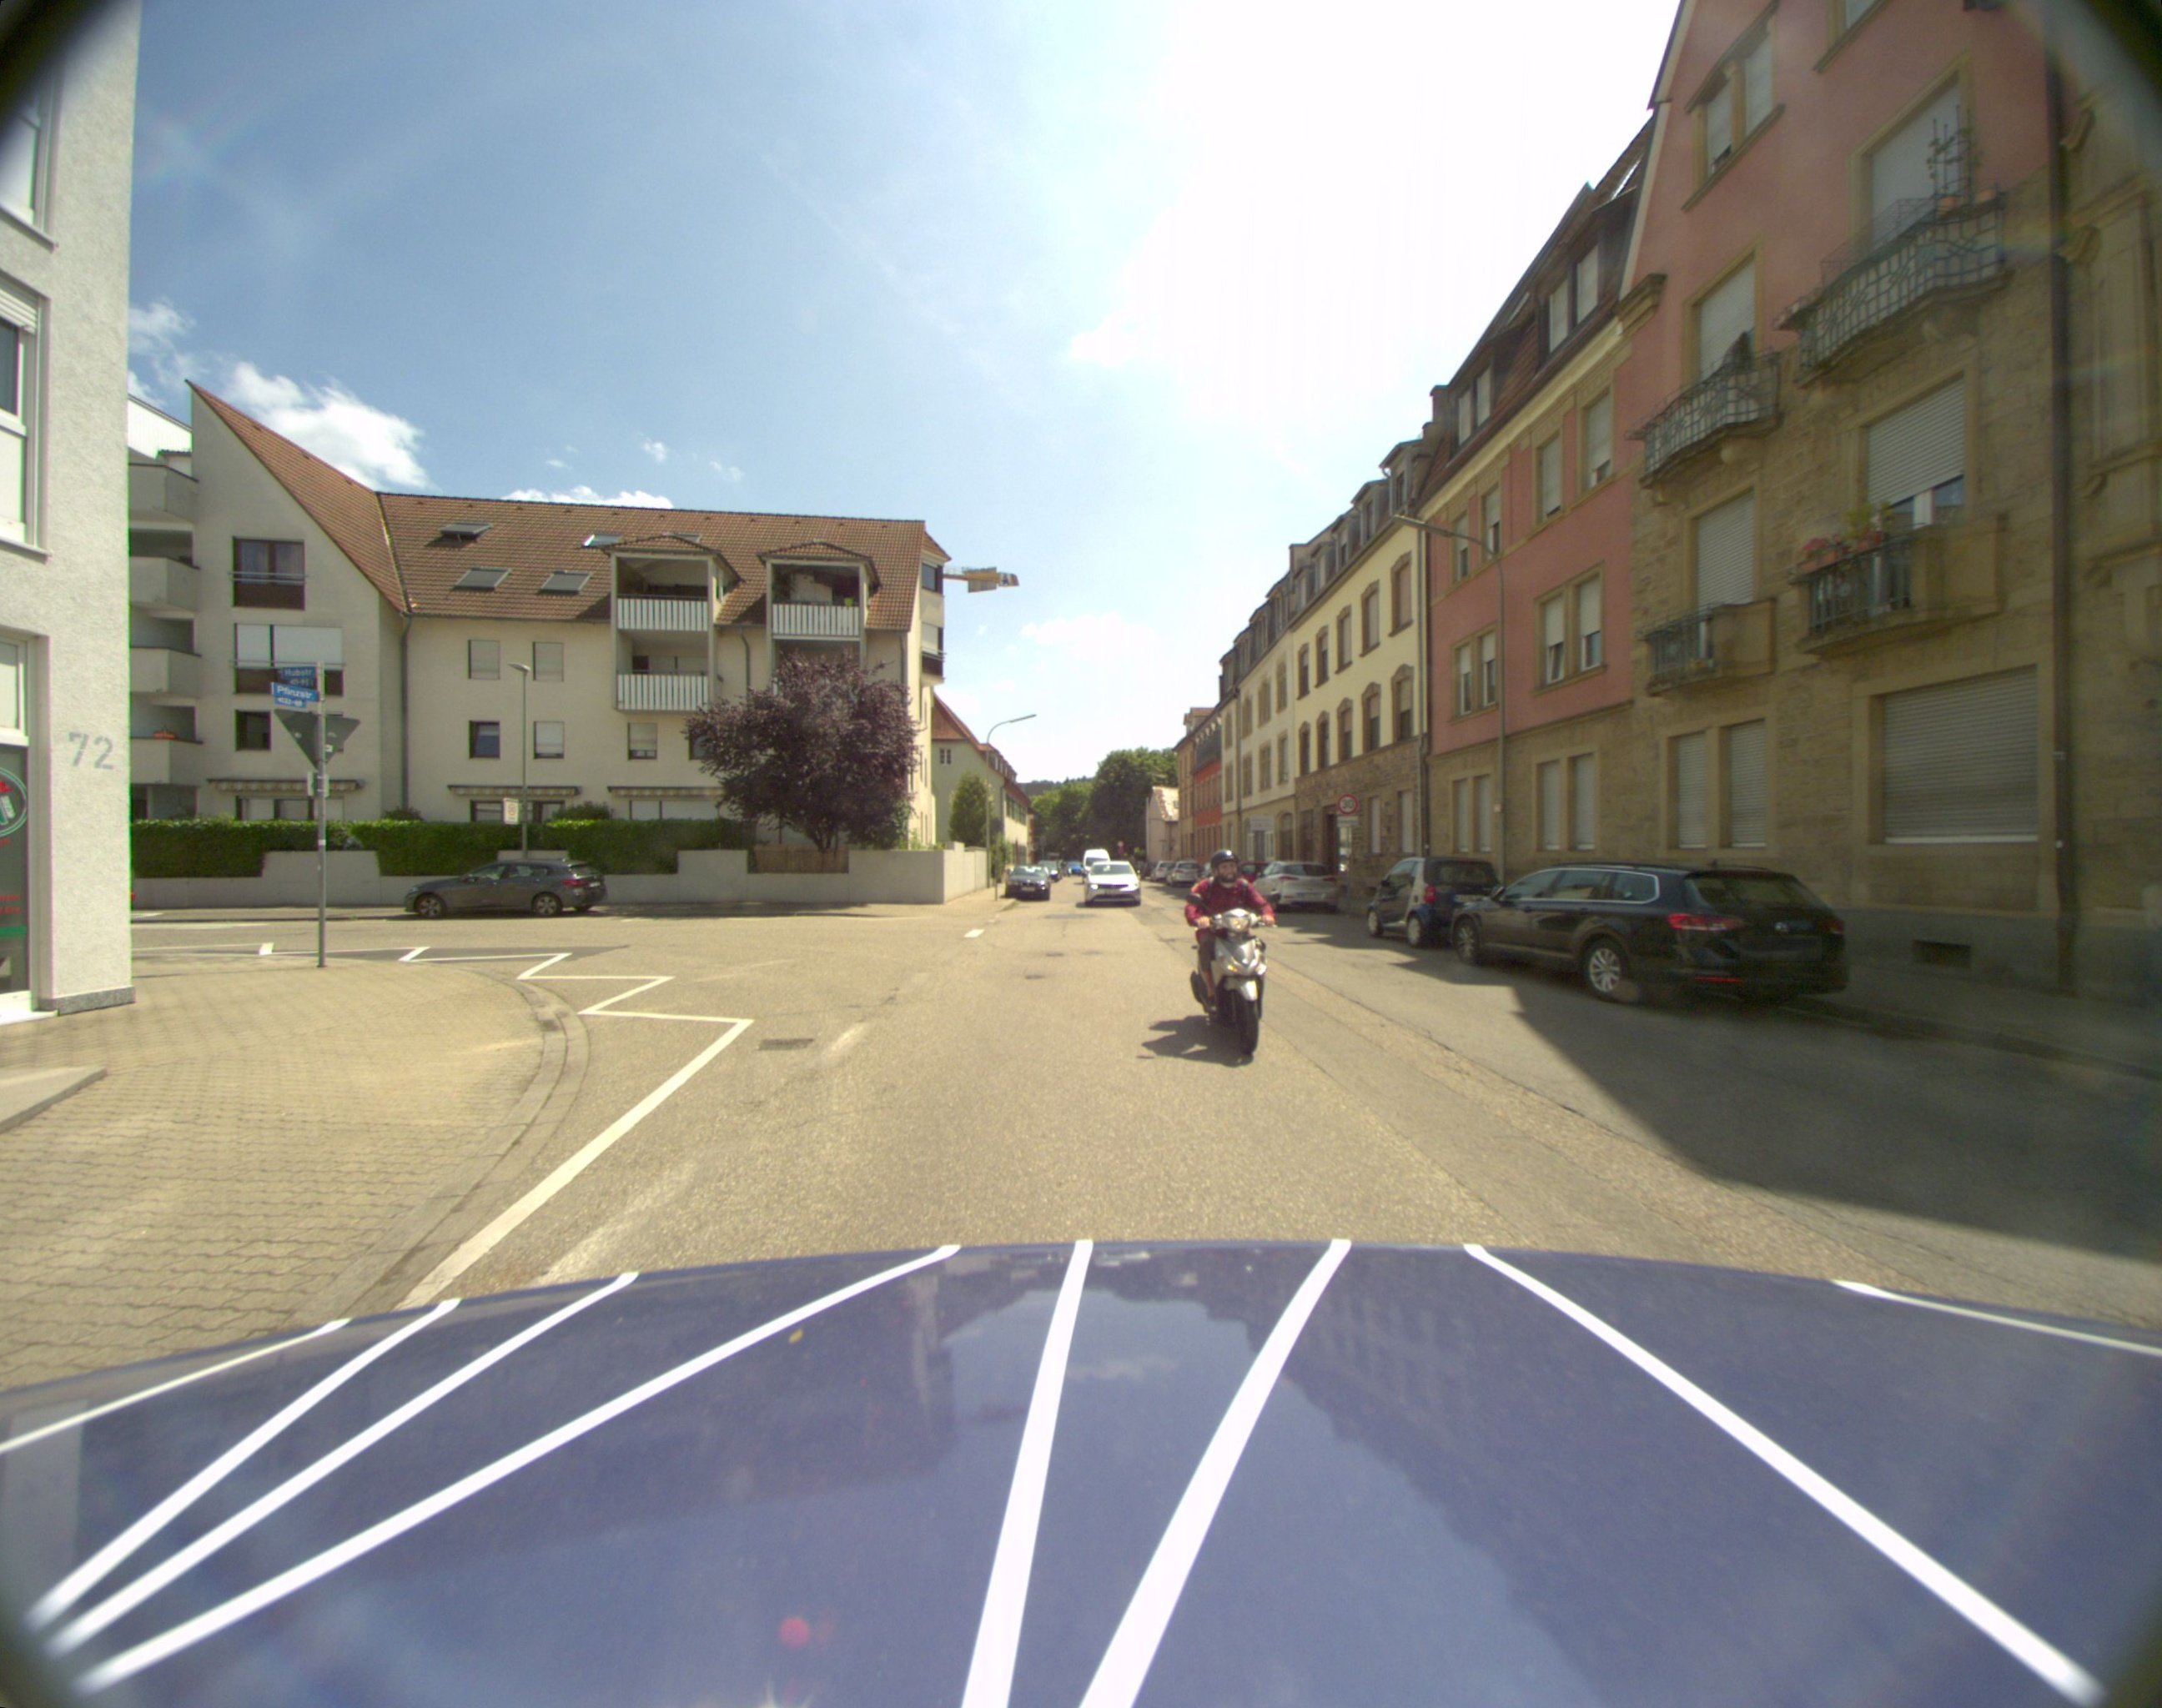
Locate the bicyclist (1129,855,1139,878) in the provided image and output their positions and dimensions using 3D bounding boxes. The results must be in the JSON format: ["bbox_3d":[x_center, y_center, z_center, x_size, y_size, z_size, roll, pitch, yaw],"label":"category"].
[{"bbox_3d":[4.048,0.953,58.381,0.643,1.752,1.167,1,0,-1],"label":"bicyclist"}]

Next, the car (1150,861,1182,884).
[{"bbox_3d":[5.830,1.229,52.387,1.715,1.451,3.853,1,0,-1],"label":"car"}]

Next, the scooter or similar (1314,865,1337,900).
[{"bbox_3d":[8.900,1.025,27.701,0.375,1.213,1.319,0,0,-1],"label":"scooter or similar"}]

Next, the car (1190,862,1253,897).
[{"bbox_3d":[6.145,1.065,33.779,1.877,1.430,4.217,0,0,-2],"label":"car"}]

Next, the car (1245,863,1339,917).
[{"bbox_3d":[6.183,1.003,22.681,1.639,1.423,4.018,1,0,0],"label":"car"}]

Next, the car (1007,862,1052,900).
[{"bbox_3d":[-2.007,1.018,30.399,1.661,1.368,4.238,0,0,-3],"label":"car"}]

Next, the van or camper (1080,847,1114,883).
[{"bbox_3d":[1.003,0.710,49.906,1.999,2.273,5.143,0,0,-2],"label":"van or camper"}]

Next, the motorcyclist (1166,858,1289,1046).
[{"bbox_3d":[1.187,0.758,6.358,0.793,1.431,1.020,-1,0,-1],"label":"motorcyclist"}]

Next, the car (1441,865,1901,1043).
[{"bbox_3d":[6.199,0.897,8.890,1.787,1.449,4.634,0,0,0],"label":"car"}]

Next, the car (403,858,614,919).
[{"bbox_3d":[-14.550,0.863,19.514,3.999,1.460,1.736,1,1,-7],"label":"car"}]

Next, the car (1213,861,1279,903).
[{"bbox_3d":[6.127,1.005,28.489,1.602,1.433,3.494,0,0,-2],"label":"car"}]

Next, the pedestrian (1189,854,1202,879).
[{"bbox_3d":[8.215,0.895,54.421,0.770,1.761,0.763,-2,0,-2],"label":"pedestrian"}]

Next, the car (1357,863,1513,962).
[{"bbox_3d":[6.087,0.948,13.378,1.440,1.514,2.695,0,1,-1],"label":"car"}]

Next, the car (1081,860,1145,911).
[{"bbox_3d":[0.987,0.988,25.357,1.812,1.512,3.999,-1,0,-2],"label":"car"}]

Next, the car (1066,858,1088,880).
[{"bbox_3d":[-0.363,1.484,74.717,1.998,2.002,4.000,-2,0,1],"label":"car"}]

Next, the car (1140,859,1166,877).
[{"bbox_3d":[6.066,1.147,64.674,1.732,1.433,3.856,0,0,-2],"label":"car"}]

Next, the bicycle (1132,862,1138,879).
[{"bbox_3d":[4.173,1.275,58.413,0.229,1.268,1.882,2,0,-2],"label":"bicycle"}]

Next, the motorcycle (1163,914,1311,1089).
[{"bbox_3d":[1.197,1.110,6.299,0.760,1.049,1.991,-1,0,-1],"label":"motorcycle"}]

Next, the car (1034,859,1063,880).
[{"bbox_3d":[-2.340,1.092,55.580,1.851,1.506,4.001,0,0,2],"label":"car"}]

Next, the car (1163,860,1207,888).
[{"bbox_3d":[5.924,1.096,43.604,1.883,1.501,4.381,0,0,-1],"label":"car"}]
